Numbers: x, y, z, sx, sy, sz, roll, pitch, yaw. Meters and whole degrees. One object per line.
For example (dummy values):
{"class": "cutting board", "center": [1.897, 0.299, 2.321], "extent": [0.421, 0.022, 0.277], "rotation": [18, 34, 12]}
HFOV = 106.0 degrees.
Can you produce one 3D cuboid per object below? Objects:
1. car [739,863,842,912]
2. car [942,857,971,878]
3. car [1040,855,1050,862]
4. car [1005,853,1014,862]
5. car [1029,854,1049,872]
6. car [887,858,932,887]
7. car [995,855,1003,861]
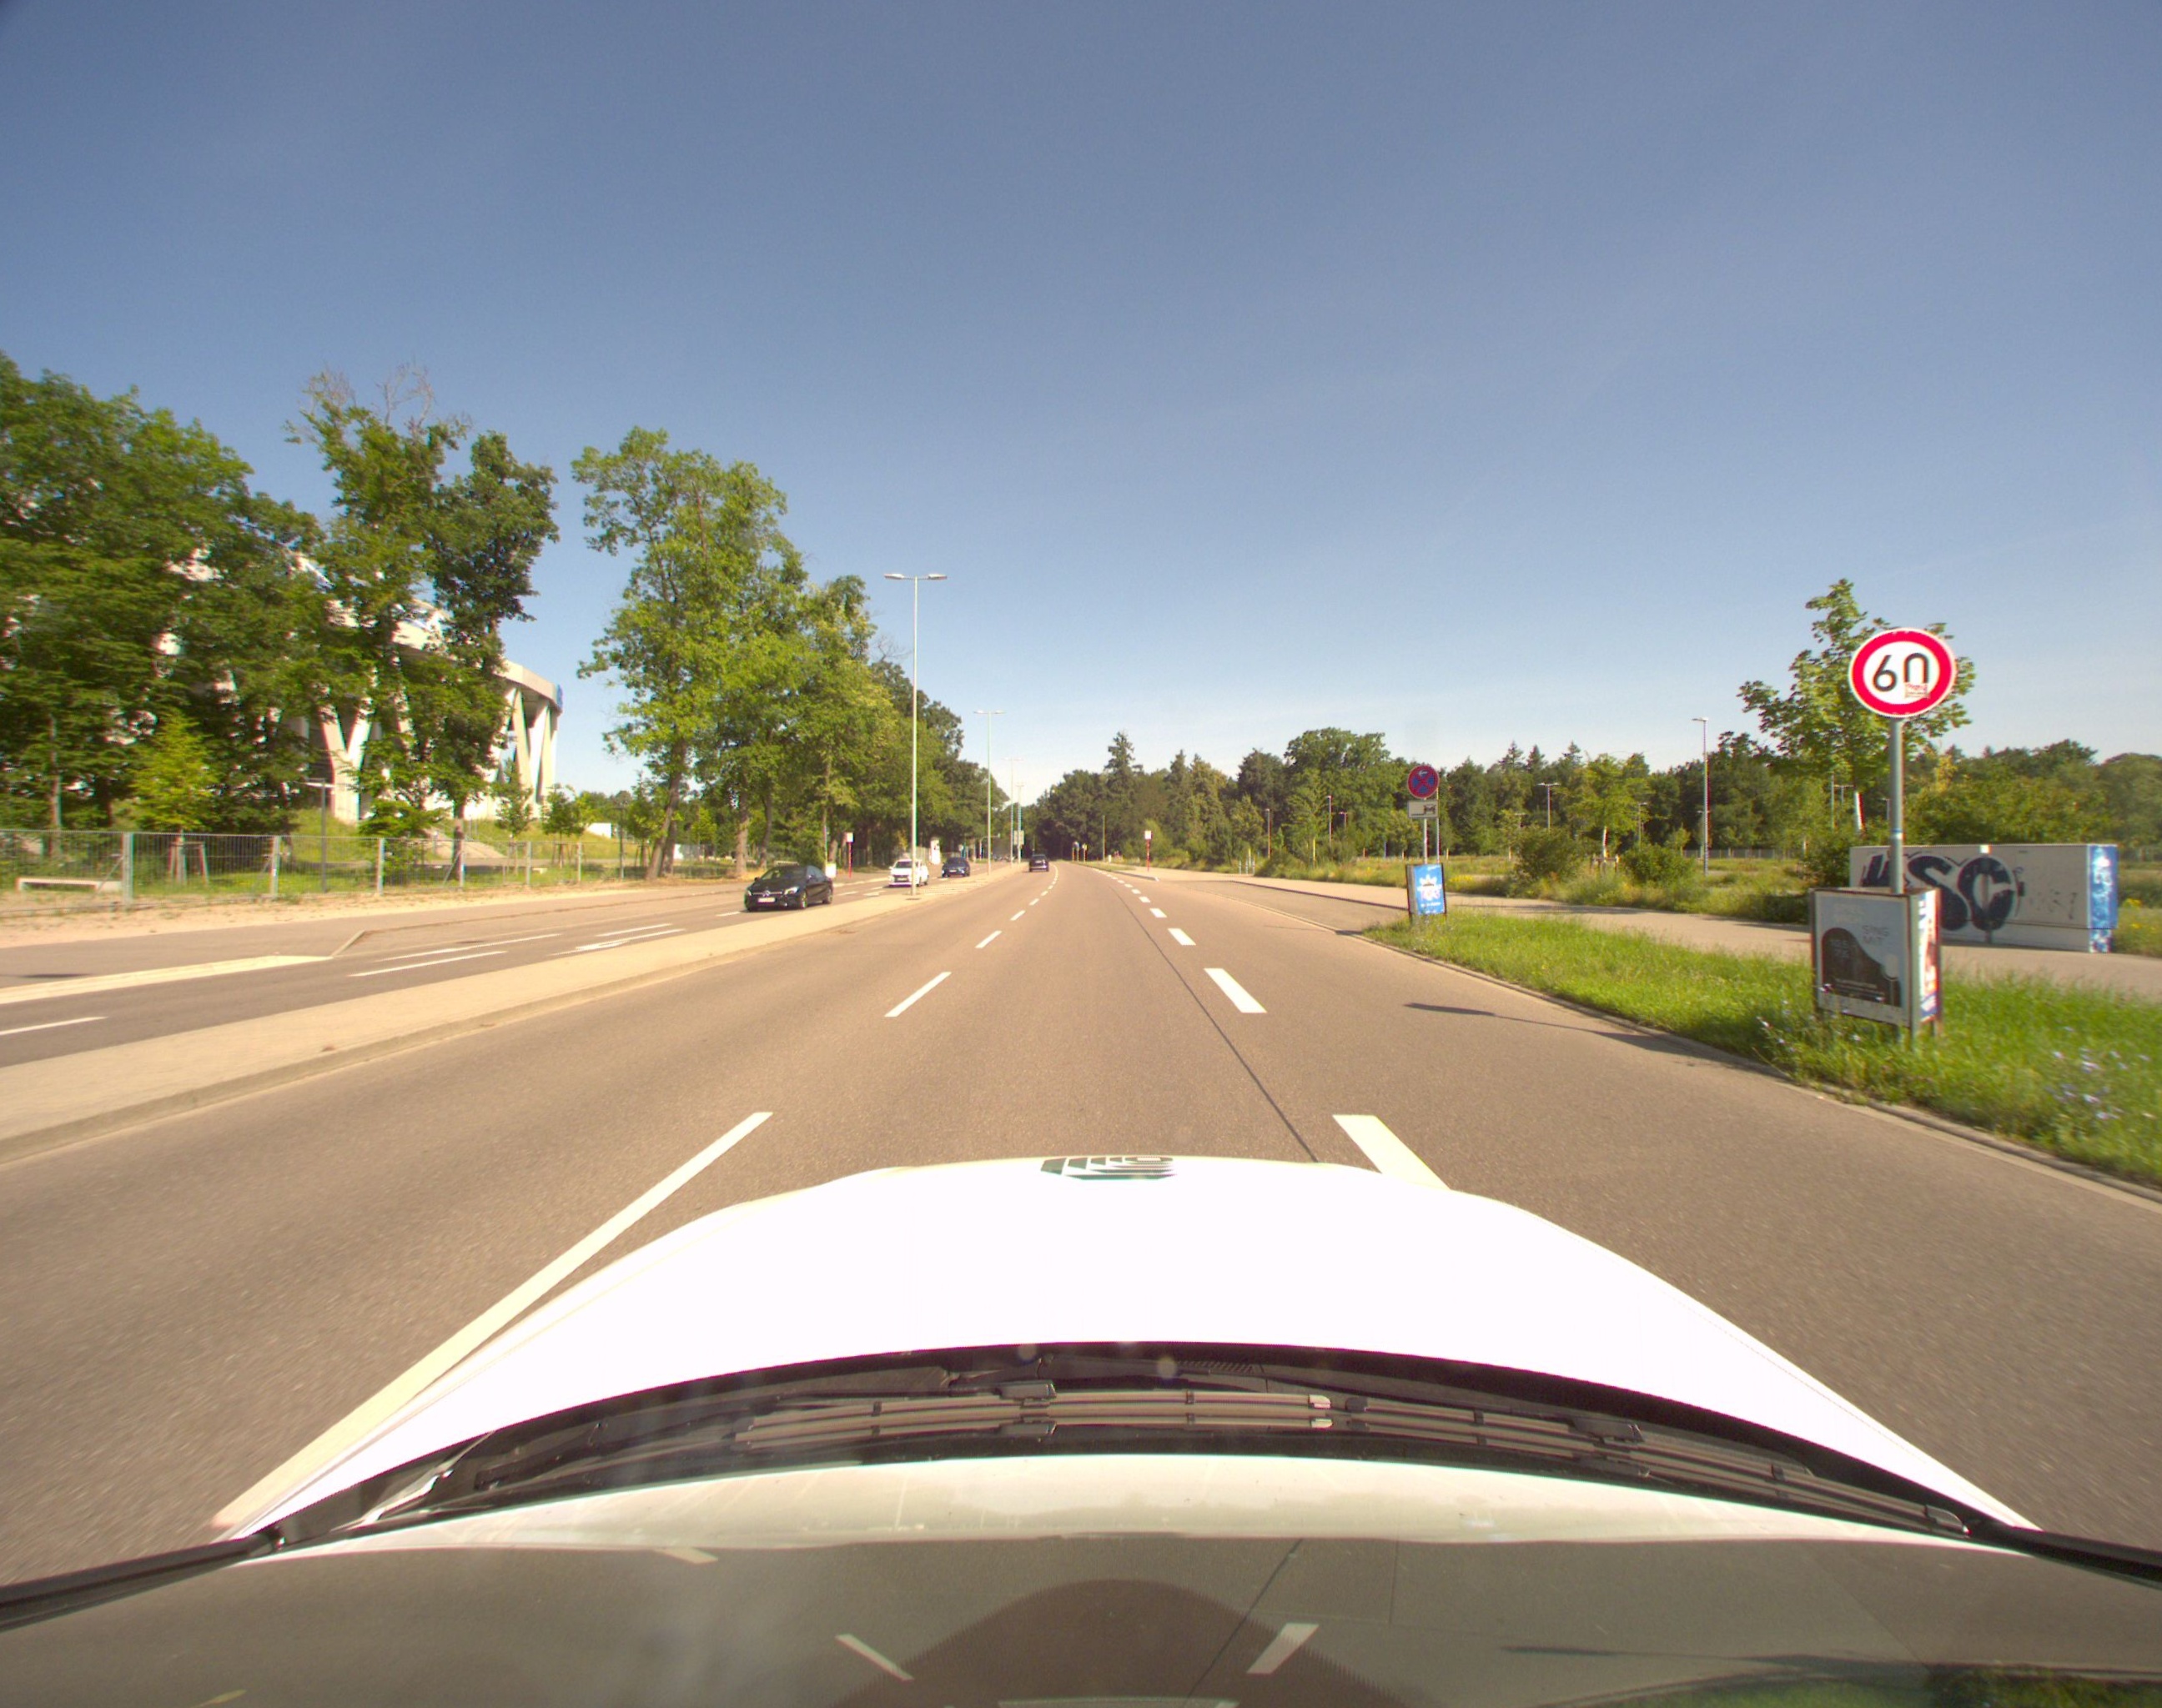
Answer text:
{"class": "car", "center": [-9.483, 1.046, 26.931], "extent": [1.805, 1.388, 4.162], "rotation": [-2, 0, 0]}
{"class": "car", "center": [-9.499, 0.977, 62.416], "extent": [1.749, 1.486, 3.943], "rotation": [-2, 0, -3]}
{"class": "car", "center": [-8.019, 1.002, 181.746], "extent": [1.938, 1.420, 4.285], "rotation": [0, 0, -5]}
{"class": "car", "center": [-15.932, 0.876, 182.060], "extent": [1.837, 1.932, 4.624], "rotation": [-1, 0, -3]}
{"class": "car", "center": [-3.934, 0.792, 75.727], "extent": [1.685, 1.544, 4.142], "rotation": [-1, 0, -5]}
{"class": "car", "center": [-9.278, 0.965, 44.295], "extent": [1.618, 1.466, 3.800], "rotation": [-2, 0, 0]}
{"class": "car", "center": [-20.414, 0.943, 203.458], "extent": [1.791, 1.478, 3.993], "rotation": [0, 0, -5]}
